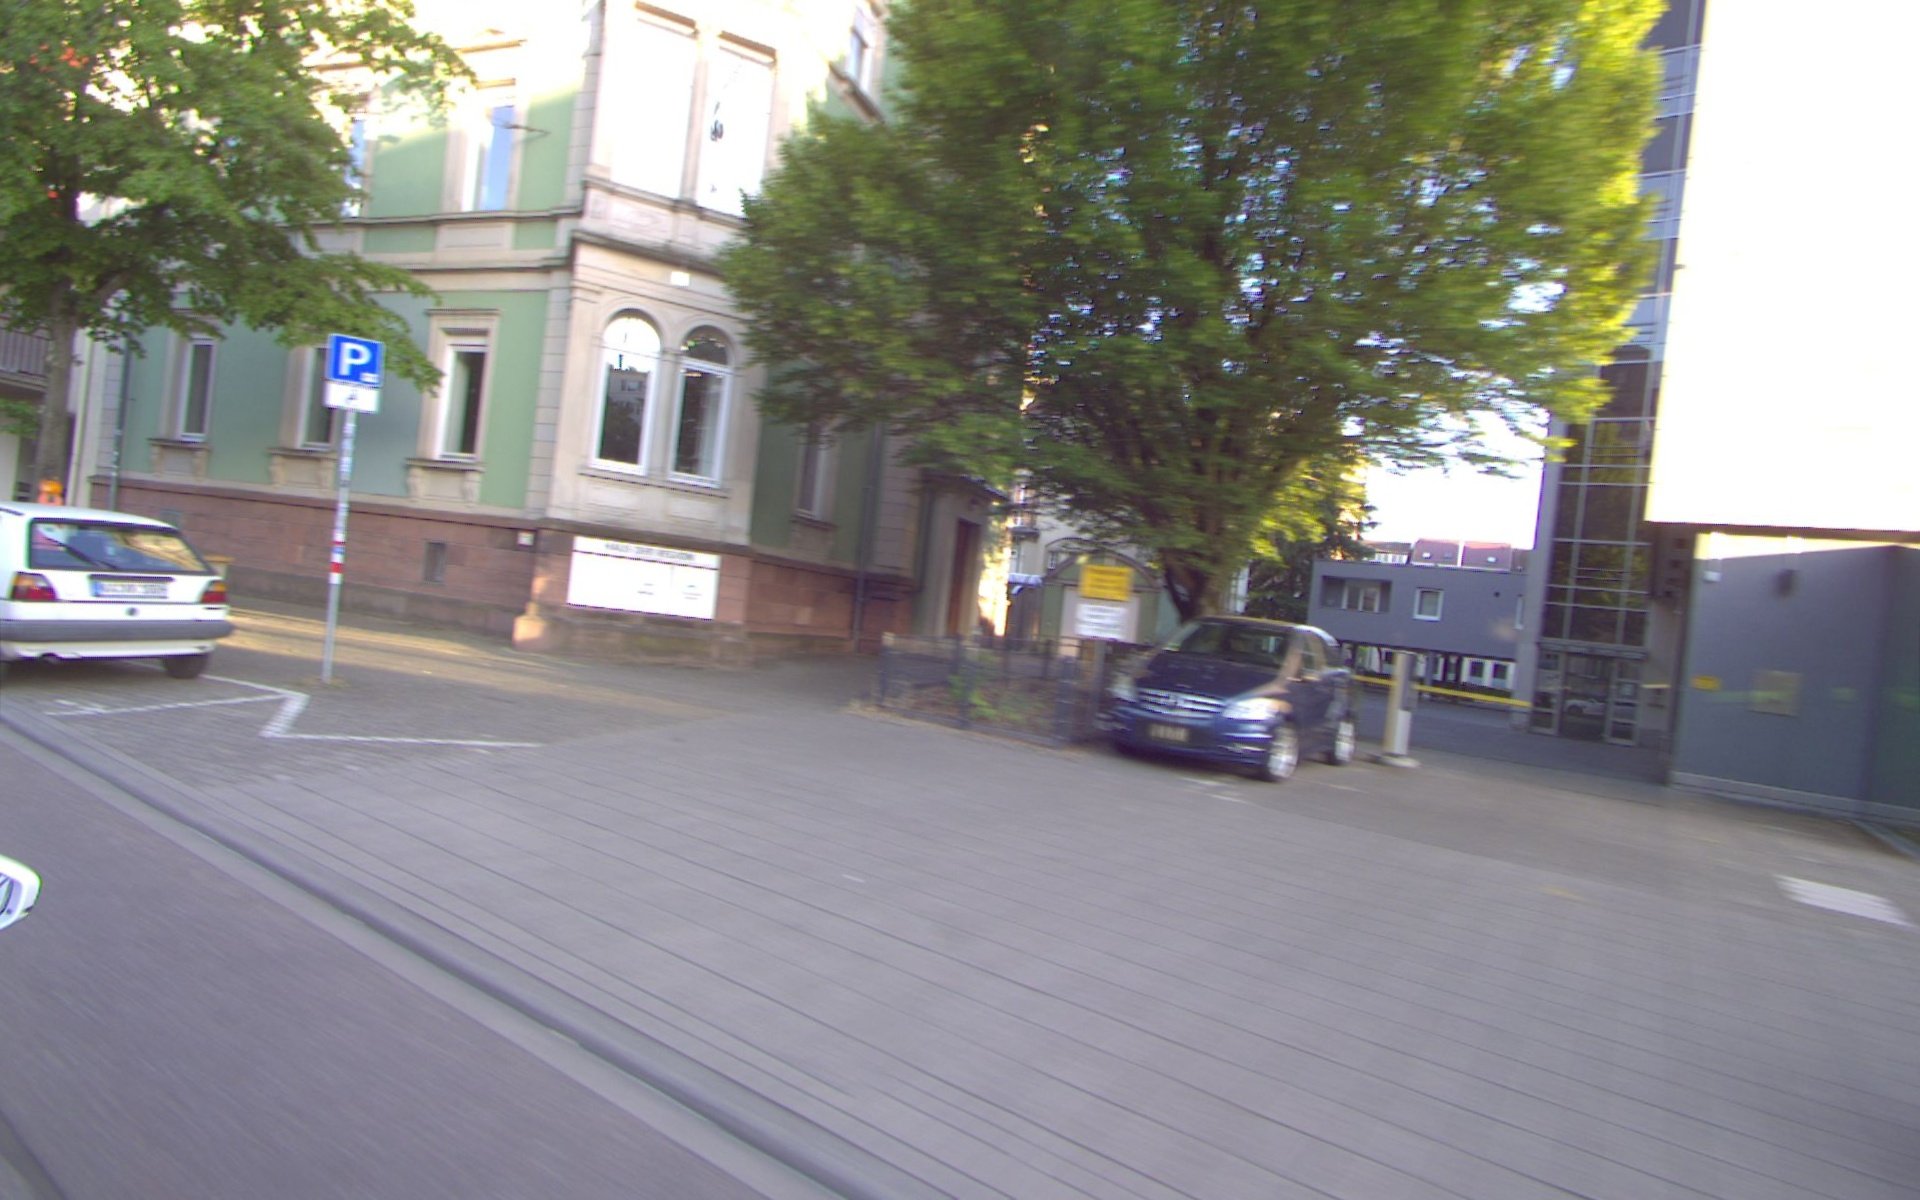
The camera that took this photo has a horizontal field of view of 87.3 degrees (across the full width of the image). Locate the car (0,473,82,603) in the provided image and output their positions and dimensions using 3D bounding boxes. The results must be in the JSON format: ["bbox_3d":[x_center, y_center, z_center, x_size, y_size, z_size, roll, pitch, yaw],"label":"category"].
[{"bbox_3d":[-13.668,-0.931,12.801,1.693,1.746,4.203,7,-1,-10],"label":"car"}]

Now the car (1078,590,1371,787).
[{"bbox_3d":[3.103,0.949,11.178,1.775,1.593,3.986,8,0,34],"label":"car"}]

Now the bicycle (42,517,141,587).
[{"bbox_3d":[-15.929,-0.883,18.457,1.527,1.088,0.653,7,0,21],"label":"bicycle"}]

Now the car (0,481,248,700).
[{"bbox_3d":[-8.421,-0.242,8.925,3.929,1.574,1.682,7,3,25],"label":"car"}]
